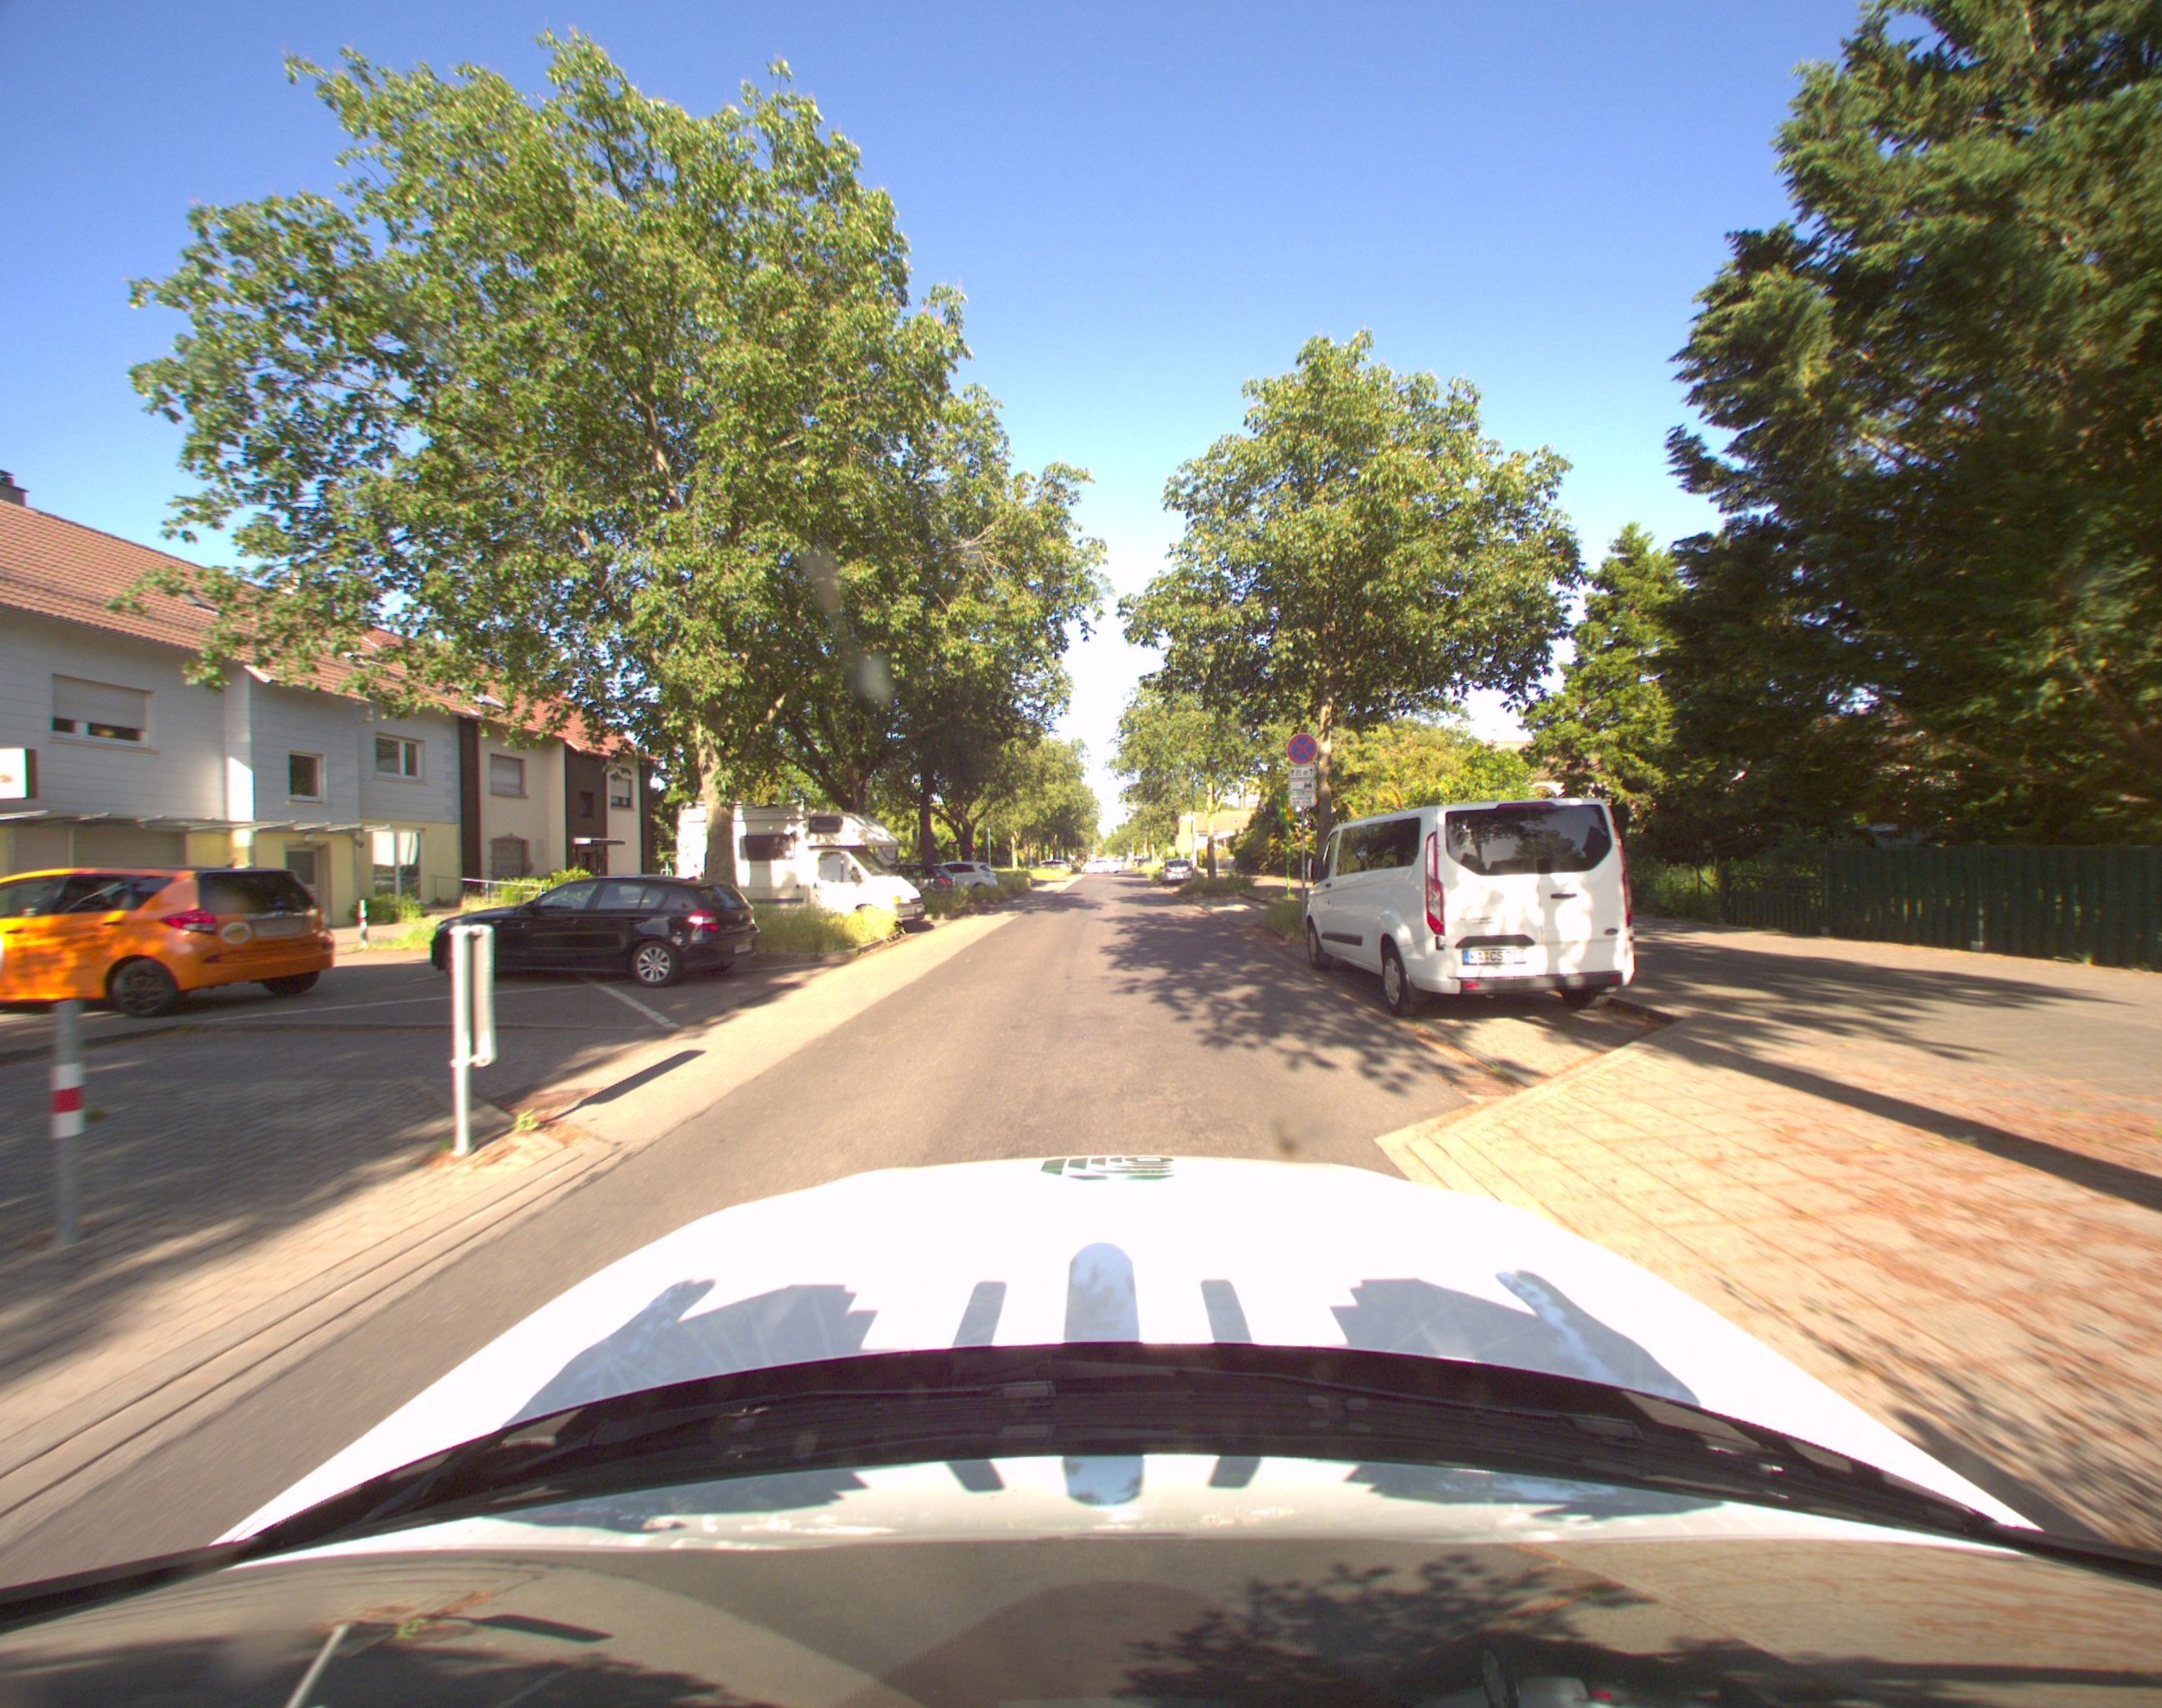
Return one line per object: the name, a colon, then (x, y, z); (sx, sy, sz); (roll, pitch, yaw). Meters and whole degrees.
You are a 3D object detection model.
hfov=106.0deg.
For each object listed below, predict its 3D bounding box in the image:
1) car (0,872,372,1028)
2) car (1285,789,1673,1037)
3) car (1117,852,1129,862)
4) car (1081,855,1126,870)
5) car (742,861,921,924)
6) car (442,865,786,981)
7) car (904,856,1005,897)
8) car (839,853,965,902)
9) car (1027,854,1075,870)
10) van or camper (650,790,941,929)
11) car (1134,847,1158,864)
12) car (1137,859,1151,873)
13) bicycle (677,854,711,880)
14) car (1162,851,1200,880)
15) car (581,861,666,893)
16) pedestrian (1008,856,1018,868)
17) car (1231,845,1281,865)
car: (-10.903, 0.999, 9.230); (3.978, 1.542, 1.868); (0, 0, -4)
car: (3.971, 0.508, 9.389); (1.986, 2.014, 5.197); (2, 0, 1)
car: (7.124, 0.539, 138.499); (1.987, 1.508, 3.658); (2, 0, 0)
car: (2.295, 0.857, 82.332); (4.170, 1.455, 2.013); (-1, 0, 39)
car: (-6.406, 0.974, 21.284); (3.973, 1.458, 2.000); (2, -1, 0)
car: (-6.510, 0.912, 11.586); (3.968, 1.450, 1.642); (1, -1, 5)
car: (-5.398, 0.937, 35.129); (3.973, 1.661, 1.967); (-1, 0, 1)
car: (-6.337, 0.819, 29.127); (3.973, 1.589, 2.000); (2, -1, 1)
car: (-2.970, 0.750, 81.372); (4.651, 1.503, 2.002); (-1, 0, 3)
van or camper: (-6.303, 0.118, 18.411); (5.750, 2.805, 2.002); (2, -1, 4)
car: (6.928, 0.174, 87.085); (1.989, 1.622, 4.375); (2, 0, -4)
car: (7.669, 1.471, 99.153); (1.604, 1.622, 4.384); (2, 0, 3)
bicycle: (-19.070, 0.595, 40.245); (0.705, 1.176, 4.037); (-2, 1, -14)
car: (5.813, 0.651, 47.010); (1.982, 1.510, 4.010); (-2, -1, 9)
car: (-27.614, 1.354, 49.267); (3.972, 1.820, 2.001); (-1, 0, 1)
pedestrian: (-10.506, 1.201, 125.340); (1.227, 1.827, 1.543); (1, -1, -15)
car: (15.594, 0.103, 72.584); (3.979, 1.640, 1.774); (-2, 0, -4)
